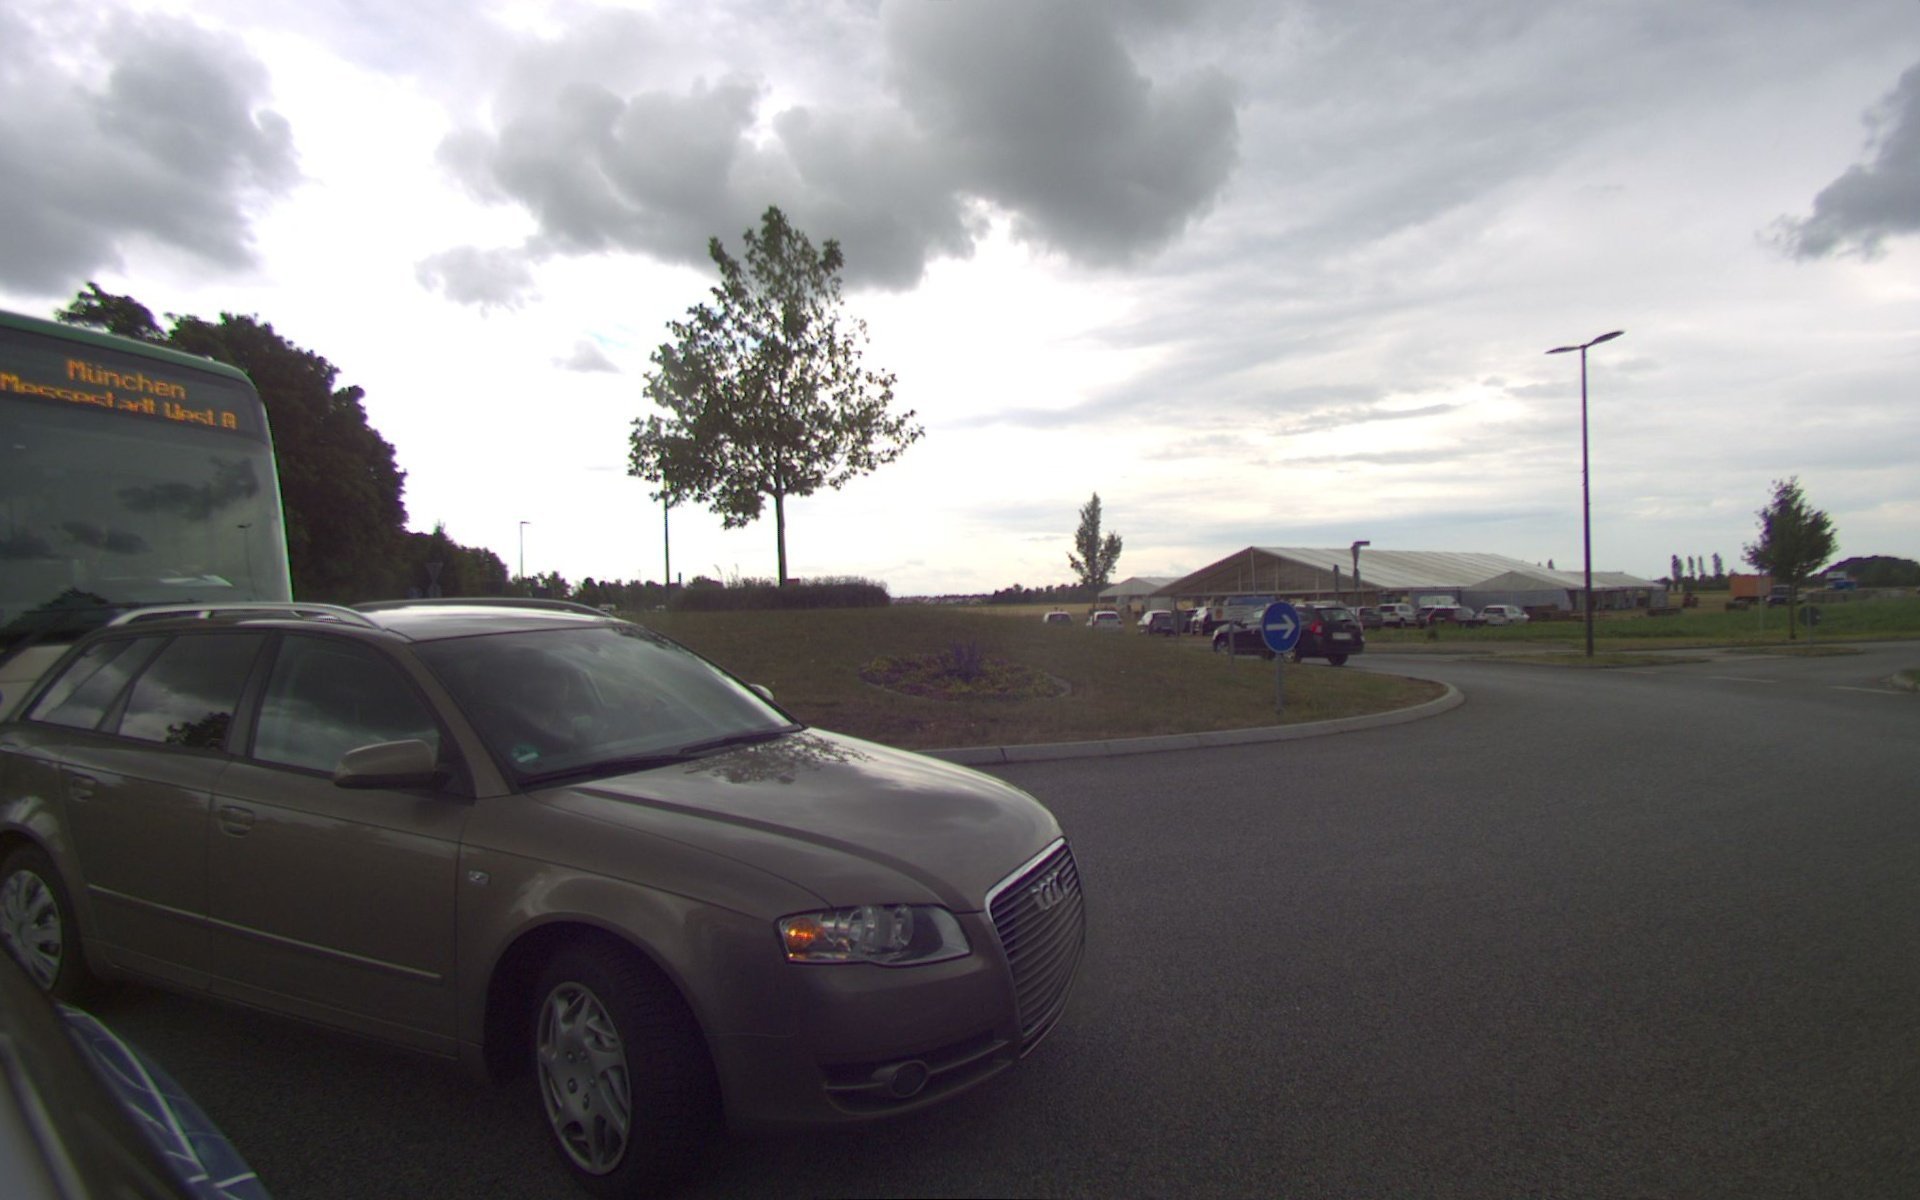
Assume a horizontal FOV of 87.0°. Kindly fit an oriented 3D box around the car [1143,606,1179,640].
[{"bbox_3d":[10.978,1.235,55.486,1.697,1.564,3.988,-3,1,10],"label":"car"}]

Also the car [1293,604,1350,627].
[{"bbox_3d":[24.149,1.036,67.533,3.939,1.453,1.954,-1,0,-43],"label":"car"}]

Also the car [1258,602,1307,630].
[{"bbox_3d":[17.448,0.843,54.908,1.930,1.453,3.989,-1,0,9],"label":"car"}]

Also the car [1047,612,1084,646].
[{"bbox_3d":[5.792,1.575,55.437,1.697,1.564,3.988,-3,1,10],"label":"car"}]

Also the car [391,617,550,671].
[{"bbox_3d":[-15.746,1.376,32.953,1.952,1.509,5.269,-2,0,10],"label":"car"}]

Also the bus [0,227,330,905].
[{"bbox_3d":[-7.725,-0.151,6.240,6.475,3.283,2.518,0,-1,9],"label":"bus"}]

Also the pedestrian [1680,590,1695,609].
[{"bbox_3d":[78.819,-0.006,109.597,1.044,2.029,1.054,-1,0,-38],"label":"pedestrian"}]

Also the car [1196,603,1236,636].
[{"bbox_3d":[14.045,1.032,55.634,1.697,1.564,3.988,-3,1,10],"label":"car"}]

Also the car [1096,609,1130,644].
[{"bbox_3d":[8.342,1.414,55.105,1.697,1.564,3.988,-3,1,10],"label":"car"}]

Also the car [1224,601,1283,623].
[{"bbox_3d":[21.524,0.895,74.187,3.932,1.453,1.957,-1,0,-31],"label":"car"}]

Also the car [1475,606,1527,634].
[{"bbox_3d":[32.257,1.181,60.328,1.732,1.565,3.943,-2,-1,43],"label":"car"}]

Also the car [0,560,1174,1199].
[{"bbox_3d":[-1.670,0.627,3.620,4.514,1.476,1.769,0,2,25],"label":"car"}]

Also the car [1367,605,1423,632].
[{"bbox_3d":[27.851,1.162,64.724,3.771,1.619,1.837,-1,-1,-42],"label":"car"}]

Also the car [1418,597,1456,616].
[{"bbox_3d":[43.736,0.614,92.772,3.770,1.618,1.837,-1,0,-42],"label":"car"}]

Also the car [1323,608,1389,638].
[{"bbox_3d":[22.469,1.271,57.631,1.707,1.619,3.884,-1,0,-9],"label":"car"}]

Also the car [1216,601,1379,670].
[{"bbox_3d":[8.588,0.861,26.170,1.743,1.575,4.292,-1,0,-18],"label":"car"}]

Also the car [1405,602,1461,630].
[{"bbox_3d":[29.350,0.963,62.760,3.771,1.619,1.837,-1,-1,-42],"label":"car"}]

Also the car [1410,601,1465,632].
[{"bbox_3d":[26.730,0.912,56.792,1.616,1.619,3.868,-1,0,7],"label":"car"}]
